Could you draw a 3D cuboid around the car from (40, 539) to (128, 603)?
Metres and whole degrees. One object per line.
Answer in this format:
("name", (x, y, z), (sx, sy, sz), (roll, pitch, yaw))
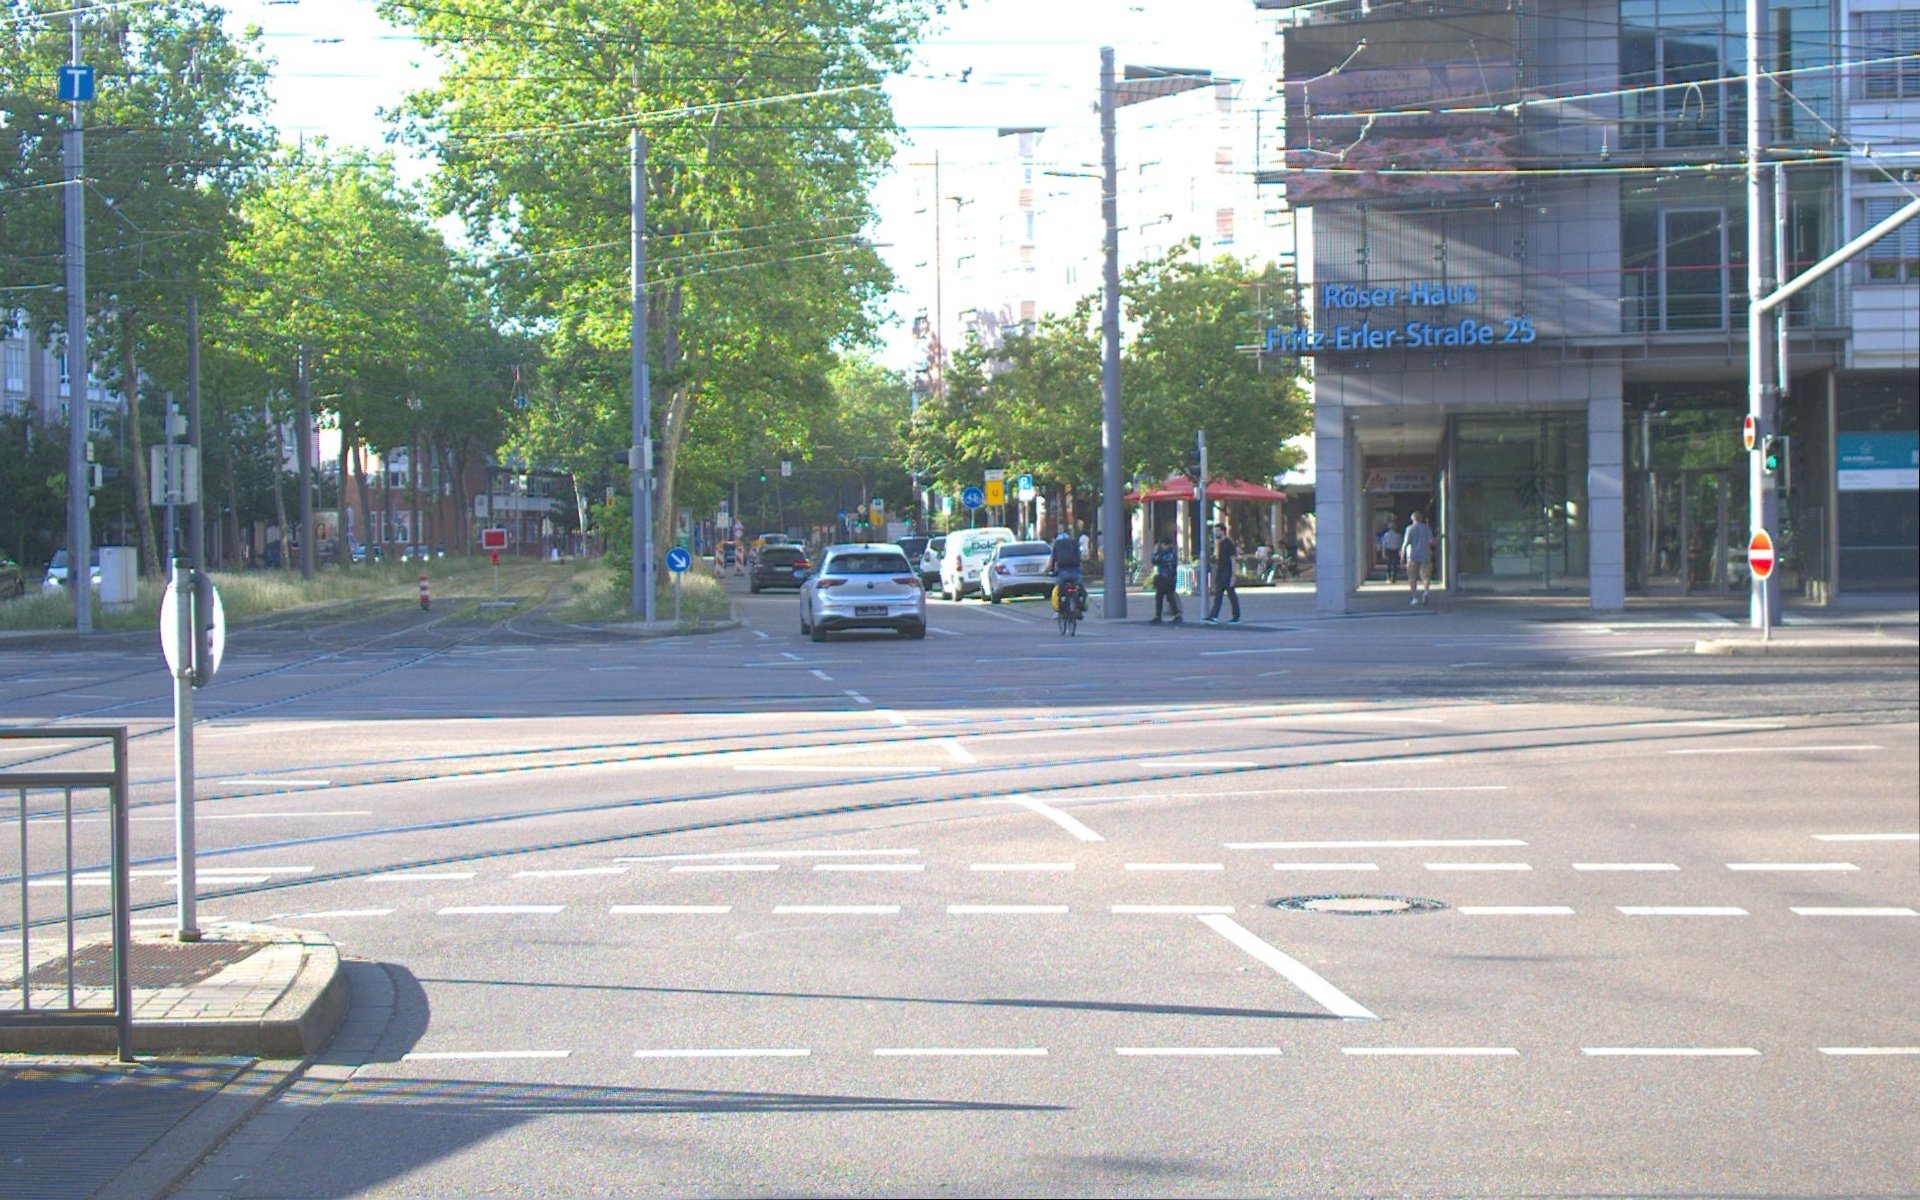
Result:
("car", (-22.789, -0.770, 89.570), (1.676, 1.601, 4.001), (1, 1, -6))

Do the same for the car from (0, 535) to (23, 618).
("car", (-21.670, -0.516, 74.911), (1.822, 1.784, 4.001), (-1, 1, -7))

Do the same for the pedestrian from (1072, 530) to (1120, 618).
("pedestrian", (2.641, -0.505, 66.953), (0.869, 1.702, 0.794), (1, 0, -1))

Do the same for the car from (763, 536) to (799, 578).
("car", (-11.244, -2.684, 215.993), (1.993, 2.008, 3.998), (1, -8, 1))

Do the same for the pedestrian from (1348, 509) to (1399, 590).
("pedestrian", (11.307, -1.382, 94.093), (1.313, 2.182, 1.170), (-1, 0, 6))

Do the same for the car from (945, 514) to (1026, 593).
("car", (0.645, -1.203, 89.610), (1.993, 2.007, 4.000), (1, 1, -1))

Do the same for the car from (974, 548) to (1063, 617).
("car", (1.383, -0.428, 82.865), (2.029, 1.590, 4.000), (1, 1, -1))

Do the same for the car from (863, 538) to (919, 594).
("car", (-2.543, -1.268, 126.902), (1.993, 2.007, 4.000), (1, 1, -1))

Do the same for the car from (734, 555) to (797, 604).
("car", (-5.730, -0.617, 100.962), (1.763, 1.399, 4.297), (0, 1, -4))

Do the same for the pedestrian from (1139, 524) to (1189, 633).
("pedestrian", (3.797, -0.398, 63.948), (0.849, 2.007, 0.708), (1, 0, -1))

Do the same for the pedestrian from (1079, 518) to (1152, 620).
("pedestrian", (2.992, -0.603, 66.254), (1.342, 1.944, 1.011), (-1, 0, -1))

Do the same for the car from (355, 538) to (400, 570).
("car", (-33.449, -2.663, 197.545), (1.910, 1.777, 4.000), (-1, 1, -1))

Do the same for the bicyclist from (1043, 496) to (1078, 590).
("bicyclist", (1.553, -0.884, 53.240), (0.486, 1.434, 0.615), (1, 1, -1))

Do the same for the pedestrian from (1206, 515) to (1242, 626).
("pedestrian", (4.818, -0.547, 62.742), (0.586, 2.007, 0.620), (1, 0, 0))

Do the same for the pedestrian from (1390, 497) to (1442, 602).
("pedestrian", (8.853, -0.972, 66.709), (0.869, 2.007, 0.794), (1, -1, -1))

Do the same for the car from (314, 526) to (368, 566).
("car", (-32.335, -2.830, 179.725), (1.876, 2.007, 4.471), (-1, 1, 2))

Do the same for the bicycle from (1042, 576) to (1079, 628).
("bicycle", (1.554, 0.024, 53.233), (0.490, 0.785, 1.862), (0, 1, -1))

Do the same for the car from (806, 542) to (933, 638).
("car", (-1.362, -0.182, 53.178), (1.748, 1.413, 4.000), (0, 1, 1))
